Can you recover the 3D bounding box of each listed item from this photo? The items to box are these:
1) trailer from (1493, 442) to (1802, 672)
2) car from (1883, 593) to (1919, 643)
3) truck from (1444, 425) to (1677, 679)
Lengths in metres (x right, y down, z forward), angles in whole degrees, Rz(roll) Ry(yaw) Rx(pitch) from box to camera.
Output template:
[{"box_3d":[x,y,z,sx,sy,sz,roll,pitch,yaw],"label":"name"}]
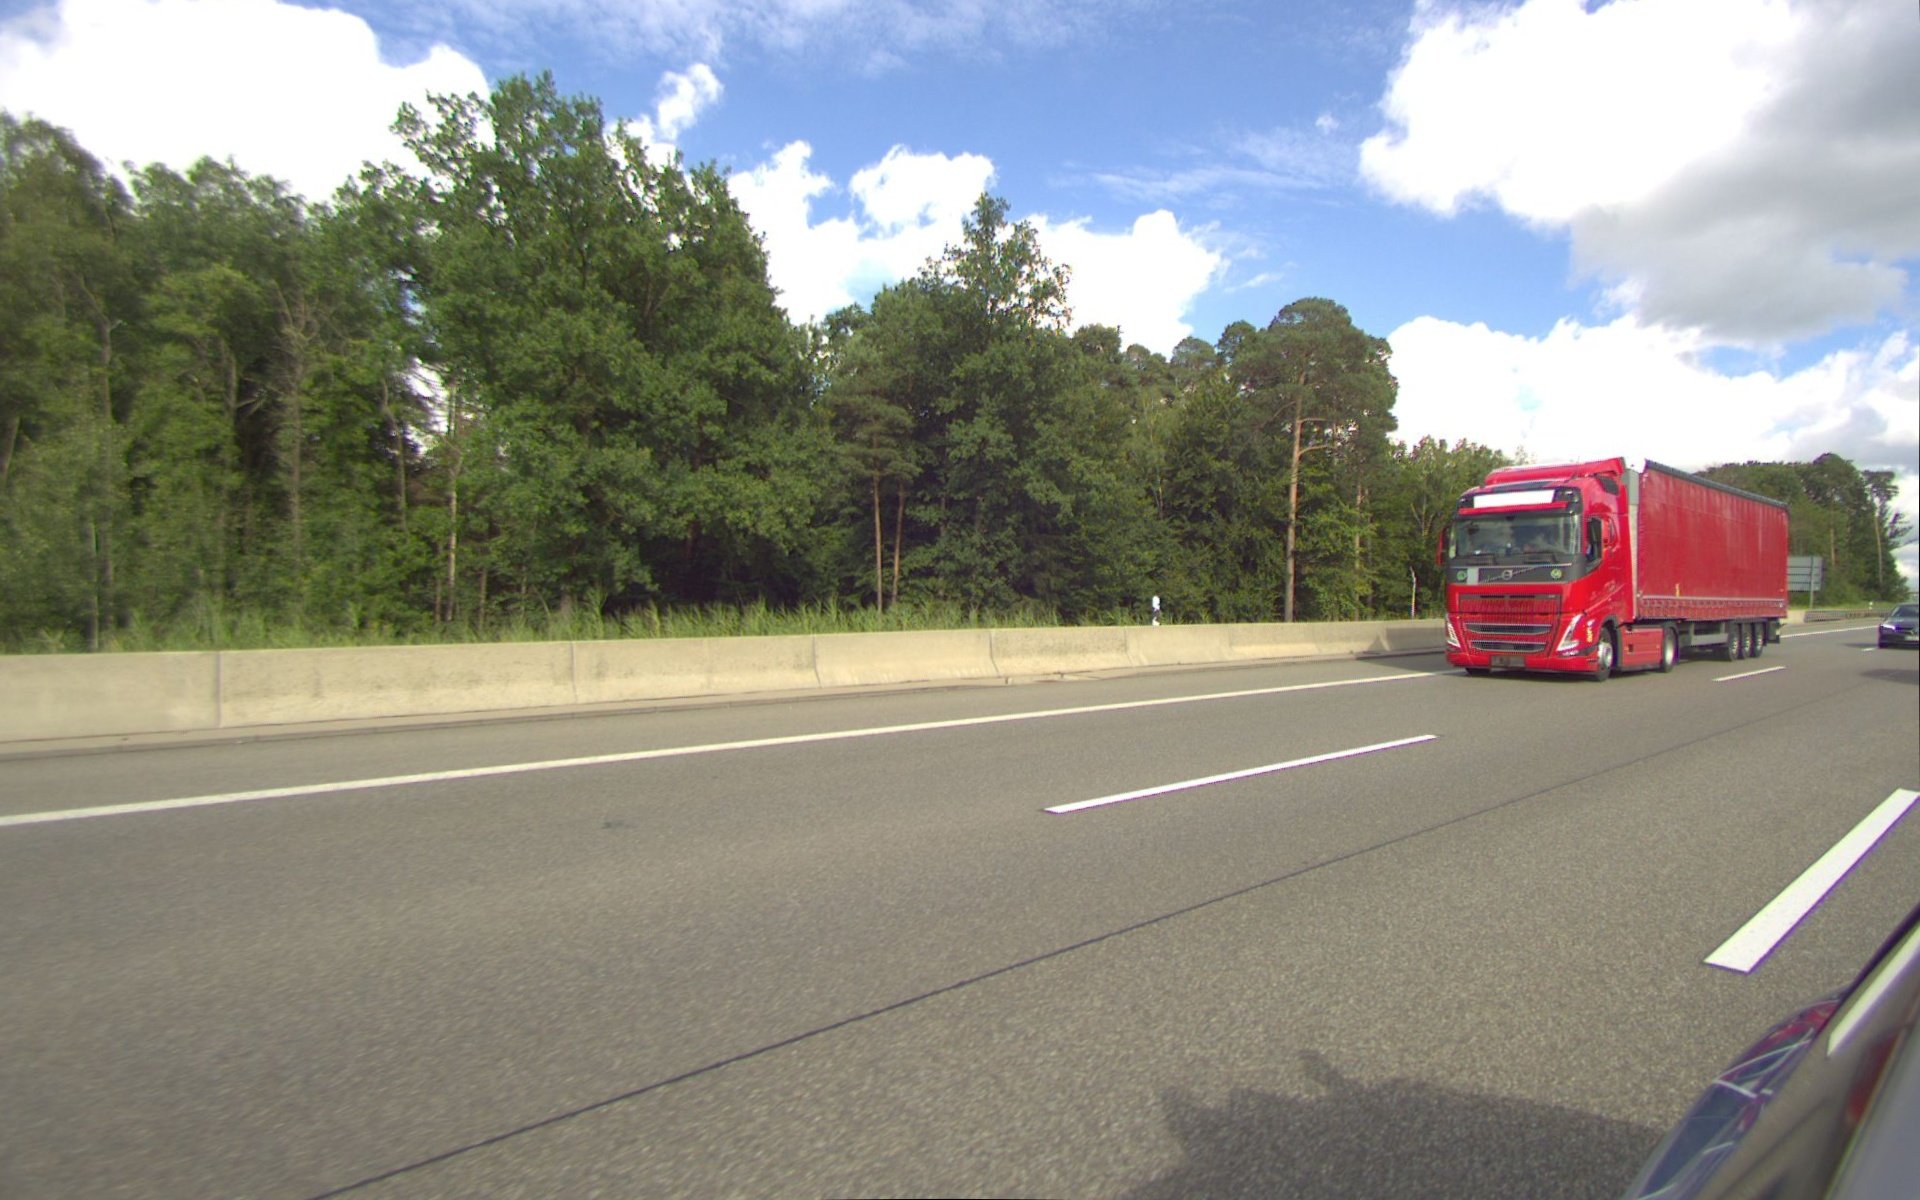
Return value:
[{"box_3d":[16.868,-0.808,24.011,14.125,4.171,2.529,0,0,-41],"label":"trailer"},{"box_3d":[30.395,0.526,31.508,3.930,1.460,1.997,-1,1,-41],"label":"car"},{"box_3d":[11.562,-0.825,19.379,4.572,4.255,2.530,0,0,-41],"label":"truck"}]
